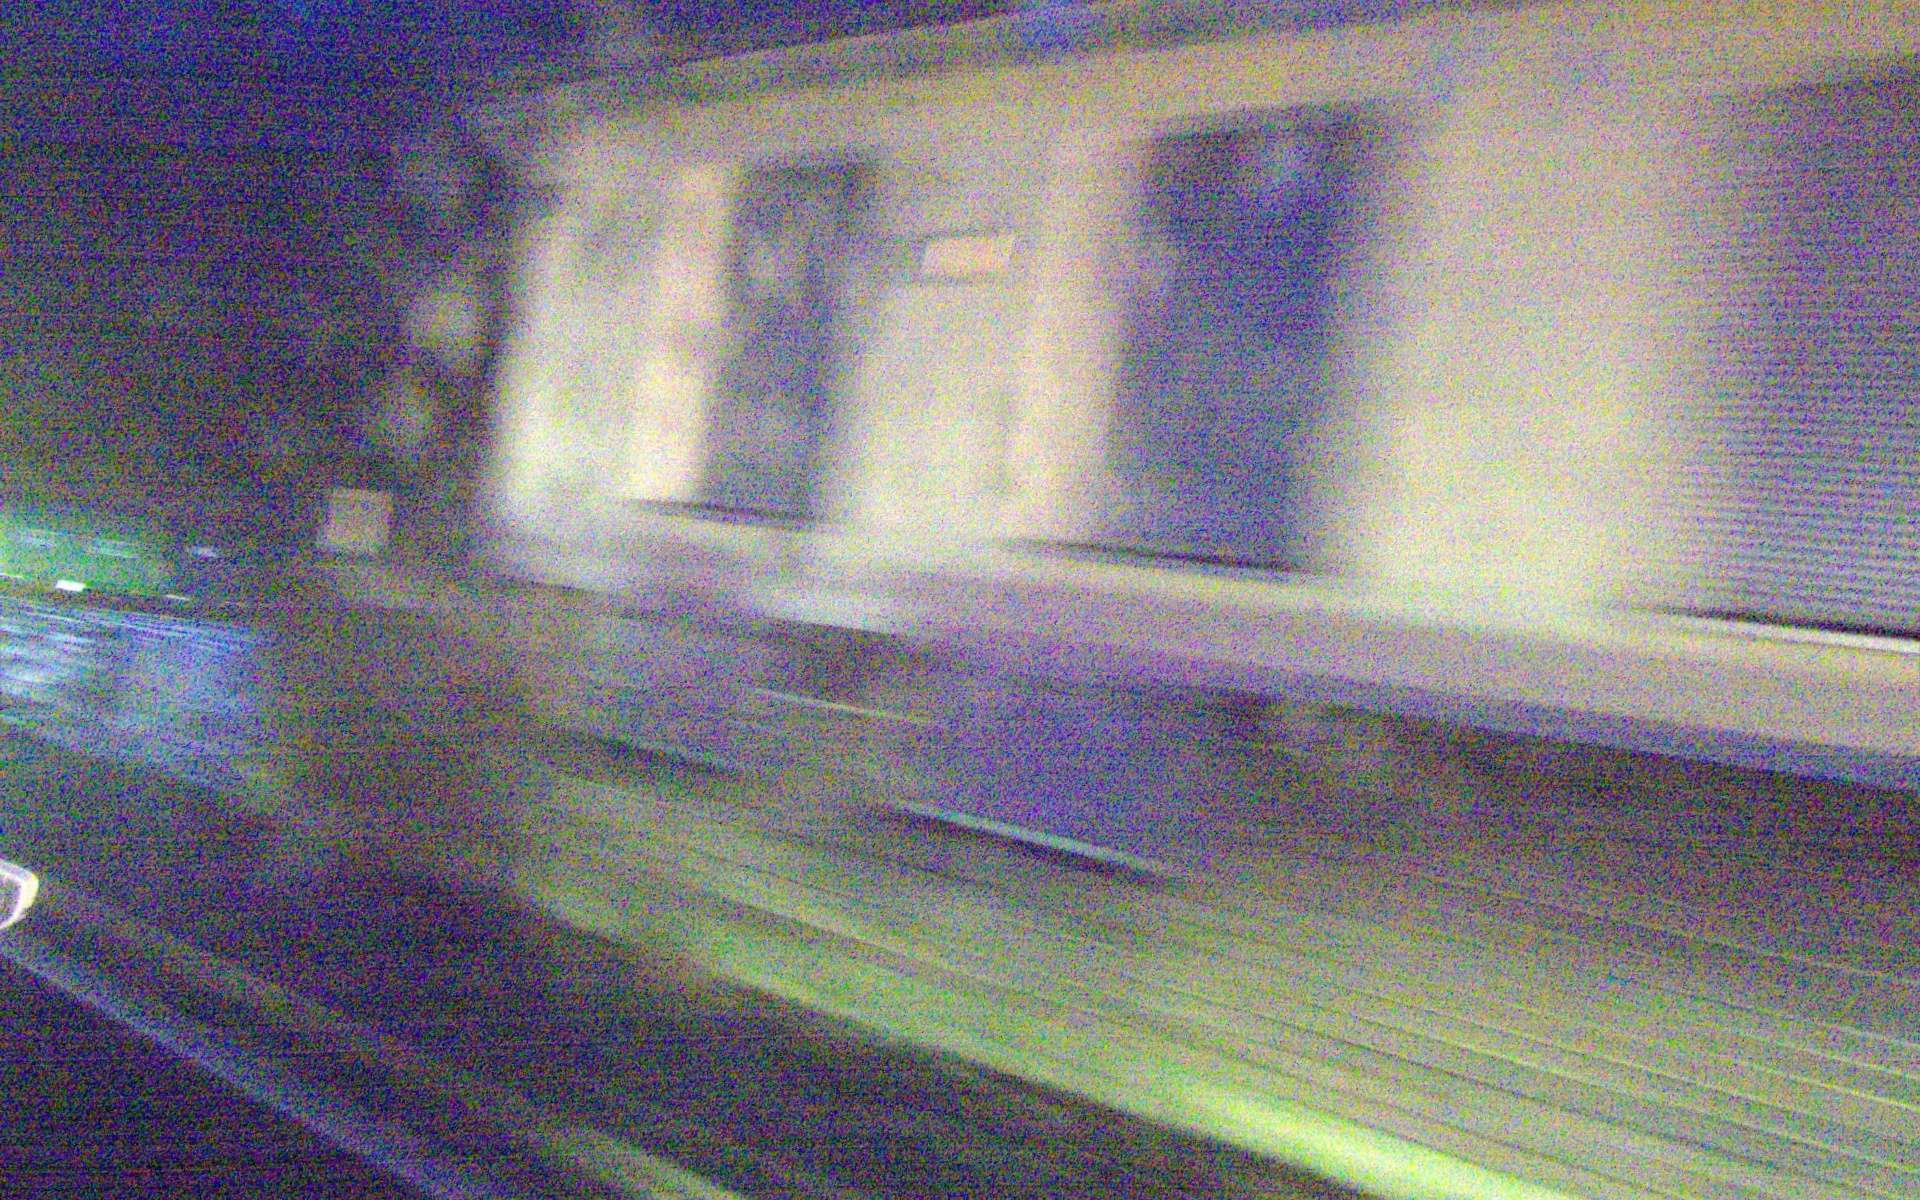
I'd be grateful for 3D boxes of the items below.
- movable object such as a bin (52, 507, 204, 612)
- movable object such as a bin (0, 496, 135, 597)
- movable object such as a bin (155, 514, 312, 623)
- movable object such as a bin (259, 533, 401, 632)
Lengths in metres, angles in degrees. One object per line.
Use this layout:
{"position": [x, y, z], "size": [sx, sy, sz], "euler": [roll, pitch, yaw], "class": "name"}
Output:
{"position": [-12.359, -0.588, 15.005], "size": [1.212, 1.341, 1.151], "euler": [8, 1, -8], "class": "movable object such as a bin"}
{"position": [-13.679, -0.797, 15.245], "size": [1.301, 1.325, 1.173], "euler": [7, 1, -11], "class": "movable object such as a bin"}
{"position": [-10.945, -0.451, 15.229], "size": [1.366, 1.431, 1.250], "euler": [6, 0, -3], "class": "movable object such as a bin"}
{"position": [-9.587, -0.251, 15.386], "size": [1.294, 1.315, 1.250], "euler": [6, 0, -3], "class": "movable object such as a bin"}
